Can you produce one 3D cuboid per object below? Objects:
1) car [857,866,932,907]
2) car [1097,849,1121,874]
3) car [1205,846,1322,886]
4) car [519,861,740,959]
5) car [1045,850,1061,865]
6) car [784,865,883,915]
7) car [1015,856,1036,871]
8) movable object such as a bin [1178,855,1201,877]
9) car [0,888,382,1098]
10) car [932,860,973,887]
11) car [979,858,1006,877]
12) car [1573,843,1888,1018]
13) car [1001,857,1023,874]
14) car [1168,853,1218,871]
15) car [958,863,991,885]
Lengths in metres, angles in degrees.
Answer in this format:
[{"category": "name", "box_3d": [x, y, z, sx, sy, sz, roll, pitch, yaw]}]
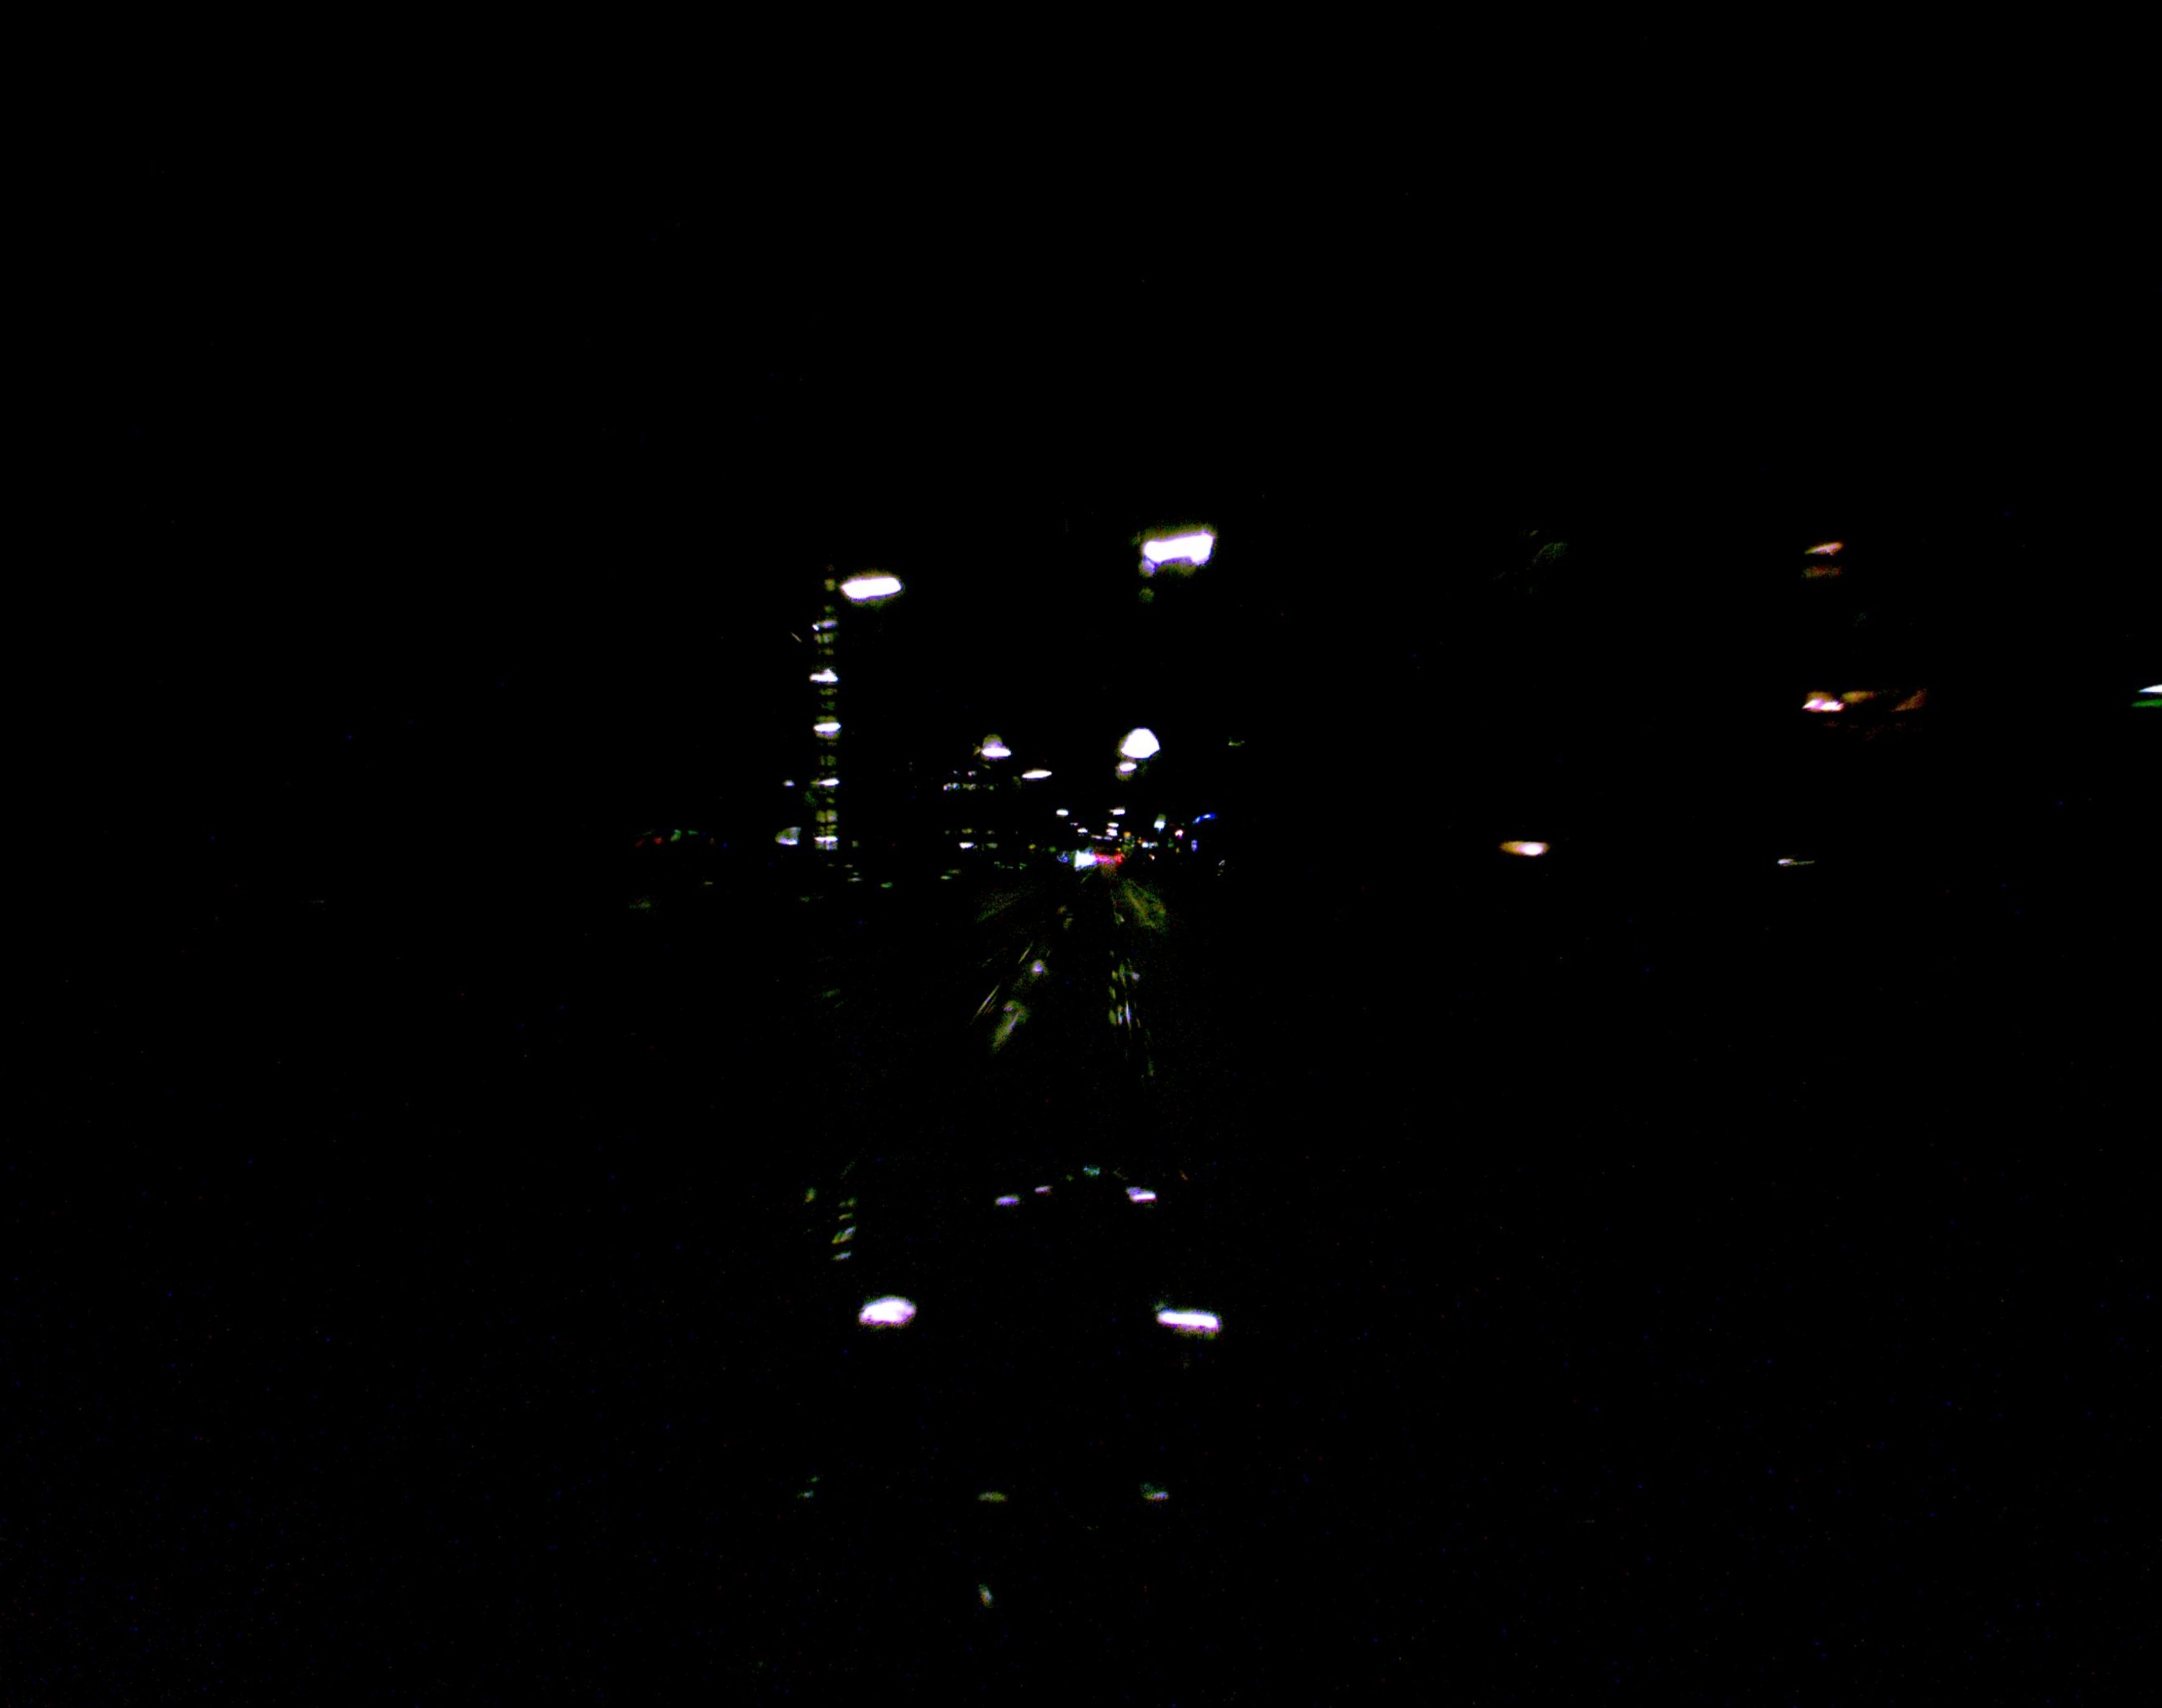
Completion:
[{"category": "car", "box_3d": [-8.141, 1.368, 36.079, 2.136, 1.619, 4.590, 2, -1, 1]}, {"category": "car", "box_3d": [2.760, 0.741, 81.884, 2.236, 2.361, 4.393, -1, -1, 0]}, {"category": "car", "box_3d": [7.829, 0.489, 34.960, 4.598, 1.475, 1.828, -2, 0, -19]}, {"category": "car", "box_3d": [-8.693, 0.976, 16.214, 1.803, 1.578, 4.355, 2, 0, 2]}, {"category": "car", "box_3d": [-4.869, 0.584, 143.307, 2.176, 2.591, 6.398, -1, 0, 4]}, {"category": "car", "box_3d": [-8.110, 1.117, 27.101, 1.724, 1.438, 4.628, -1, 0, 2]}, {"category": "car", "box_3d": [-6.314, 1.080, 93.632, 1.976, 1.631, 4.518, -1, -1, 1]}, {"category": "movable object such as a bin", "box_3d": [7.388, 0.807, 55.365, 1.319, 1.408, 1.158, -2, -1, -4]}, {"category": "car", "box_3d": [-8.884, 1.108, 7.335, 1.713, 1.456, 3.951, -1, -1, 1]}, {"category": "car", "box_3d": [-7.507, 1.101, 47.813, 1.768, 1.440, 4.604, -1, 0, -2]}, {"category": "car", "box_3d": [-7.290, 1.074, 67.696, 1.883, 1.463, 4.955, -1, 0, -3]}, {"category": "car", "box_3d": [7.236, 0.640, 8.910, 4.362, 1.468, 1.662, -1, 0, -37]}, {"category": "car", "box_3d": [-6.728, 1.136, 79.847, 1.875, 1.545, 4.397, 2, -1, -1]}, {"category": "car", "box_3d": [10.094, 0.737, 73.310, 4.111, 1.537, 1.945, 0, -1, -24]}, {"category": "car", "box_3d": [-7.429, 1.380, 57.231, 1.835, 1.423, 4.206, -1, 0, -1]}]
